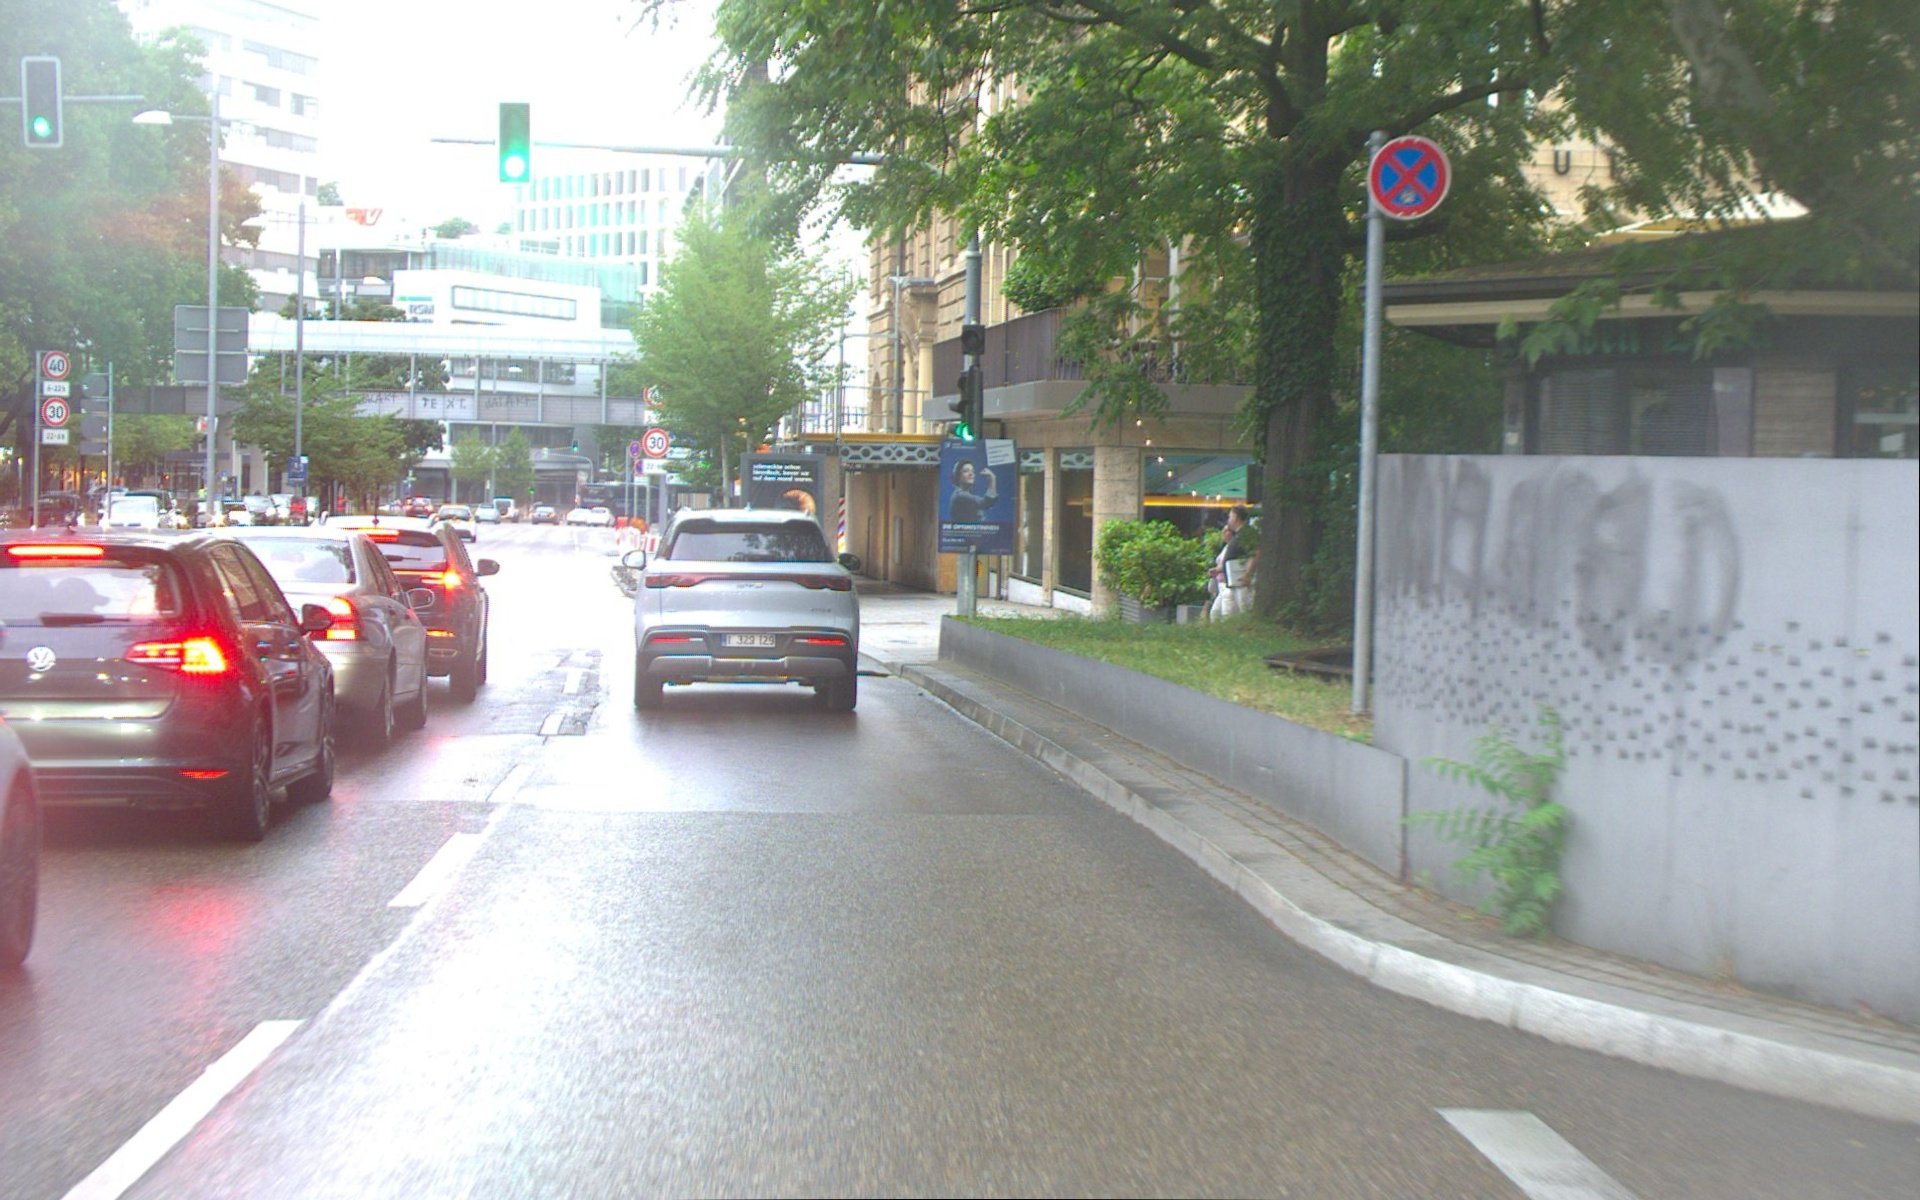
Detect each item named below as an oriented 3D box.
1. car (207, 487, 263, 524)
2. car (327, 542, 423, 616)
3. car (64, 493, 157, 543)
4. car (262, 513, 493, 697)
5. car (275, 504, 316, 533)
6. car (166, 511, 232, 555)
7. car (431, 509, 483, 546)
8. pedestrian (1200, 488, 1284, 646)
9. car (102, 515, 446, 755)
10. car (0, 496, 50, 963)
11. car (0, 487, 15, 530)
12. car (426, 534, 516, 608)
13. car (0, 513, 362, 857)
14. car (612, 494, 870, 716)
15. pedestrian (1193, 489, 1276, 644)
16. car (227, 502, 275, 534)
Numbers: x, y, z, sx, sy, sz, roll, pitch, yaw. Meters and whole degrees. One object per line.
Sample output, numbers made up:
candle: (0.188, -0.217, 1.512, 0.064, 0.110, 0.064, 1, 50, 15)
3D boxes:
car: (-29.716, -3.860, 140.958, 1.794, 1.505, 4.501, 0, 1, -6)
car: (-12.116, -0.466, 71.347, 1.691, 1.458, 4.346, 0, 1, -6)
car: (-25.483, -2.459, 103.285, 2.159, 1.458, 4.346, 0, 1, -6)
car: (-4.921, -0.011, 29.499, 1.691, 1.458, 4.346, 0, 1, -6)
car: (-35.638, -4.379, 184.379, 1.794, 1.505, 4.346, 0, 1, -6)
car: (-26.893, -2.379, 121.599, 1.794, 1.505, 4.501, 0, 1, -6)
car: (-20.606, -2.982, 141.008, 1.978, 1.458, 4.346, 0, 1, -6)
pedestrian: (3.228, -0.379, 39.404, 0.859, 1.774, 0.718, 1, 0, 0)
car: (-4.516, 0.162, 23.193, 1.691, 1.458, 4.346, 0, 1, -3)
car: (-3.790, 0.438, 9.895, 1.590, 1.486, 3.505, 0, 1, -3)
car: (-32.555, -3.048, 113.741, 1.848, 1.362, 4.240, 1, 1, -6)
car: (-10.120, -0.619, 71.326, 1.691, 1.458, 4.346, 0, 1, -6)
car: (-3.994, 0.315, 16.675, 1.691, 1.458, 4.131, 0, 1, -3)
car: (-1.842, 0.001, 29.033, 1.946, 1.660, 4.346, 2, 1, -3)
pedestrian: (3.203, -0.388, 40.163, 0.859, 1.774, 0.718, 1, 0, 0)
car: (-33.197, -3.843, 161.145, 1.794, 1.505, 4.346, 0, 1, -6)
